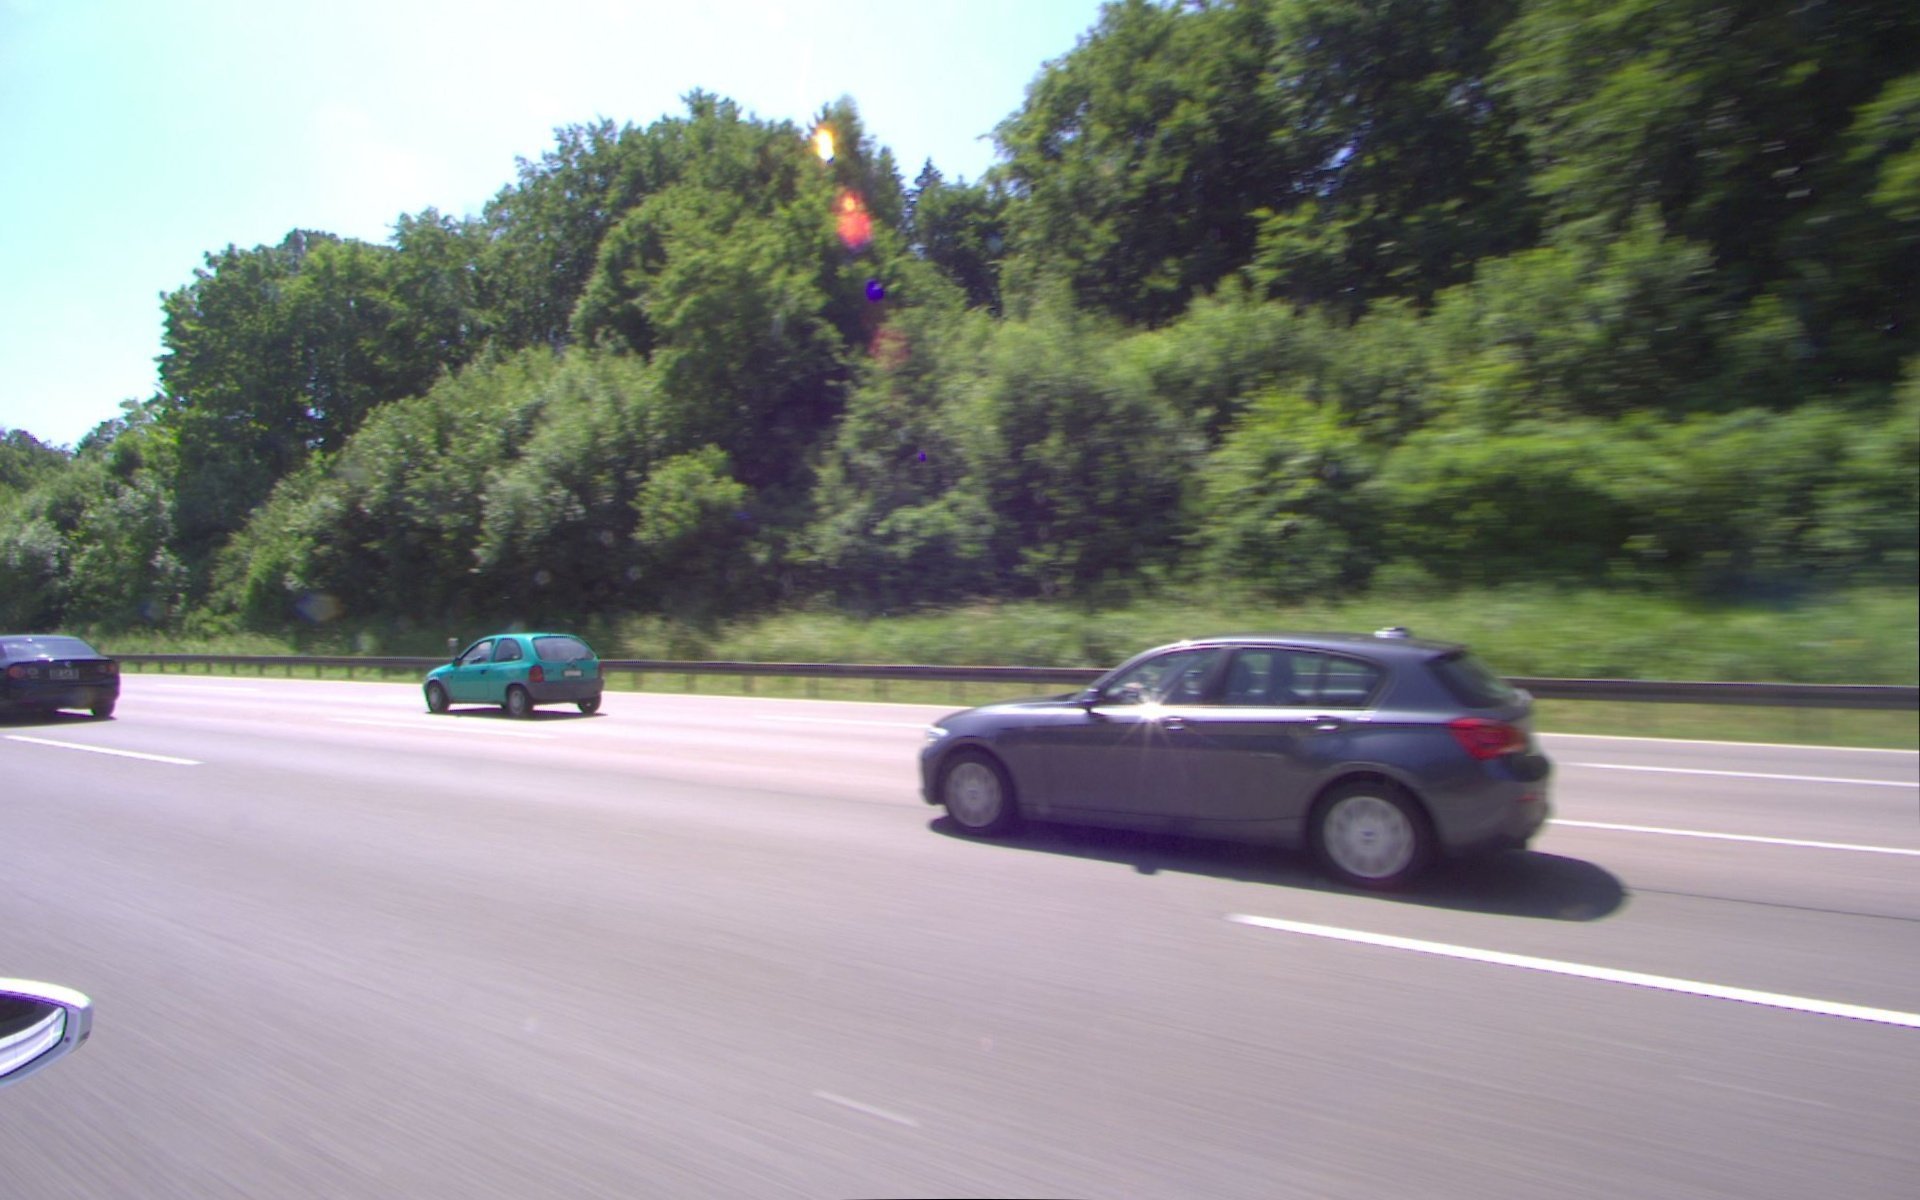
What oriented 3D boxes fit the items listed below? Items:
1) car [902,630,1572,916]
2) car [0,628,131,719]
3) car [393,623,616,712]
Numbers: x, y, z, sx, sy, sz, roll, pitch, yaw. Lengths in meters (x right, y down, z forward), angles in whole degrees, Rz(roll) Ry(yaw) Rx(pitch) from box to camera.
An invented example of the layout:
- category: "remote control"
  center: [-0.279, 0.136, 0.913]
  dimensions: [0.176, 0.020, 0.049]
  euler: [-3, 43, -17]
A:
- category: "car"
  center: [1.743, 0.917, 6.826]
  dimensions: [4.096, 1.414, 1.698]
  euler: [-1, -2, 34]
- category: "car"
  center: [-16.734, 1.215, 17.825]
  dimensions: [4.834, 1.426, 1.662]
  euler: [-1, -1, 33]
- category: "car"
  center: [-8.328, 1.159, 18.210]
  dimensions: [4.277, 1.462, 1.543]
  euler: [-1, -1, 31]
